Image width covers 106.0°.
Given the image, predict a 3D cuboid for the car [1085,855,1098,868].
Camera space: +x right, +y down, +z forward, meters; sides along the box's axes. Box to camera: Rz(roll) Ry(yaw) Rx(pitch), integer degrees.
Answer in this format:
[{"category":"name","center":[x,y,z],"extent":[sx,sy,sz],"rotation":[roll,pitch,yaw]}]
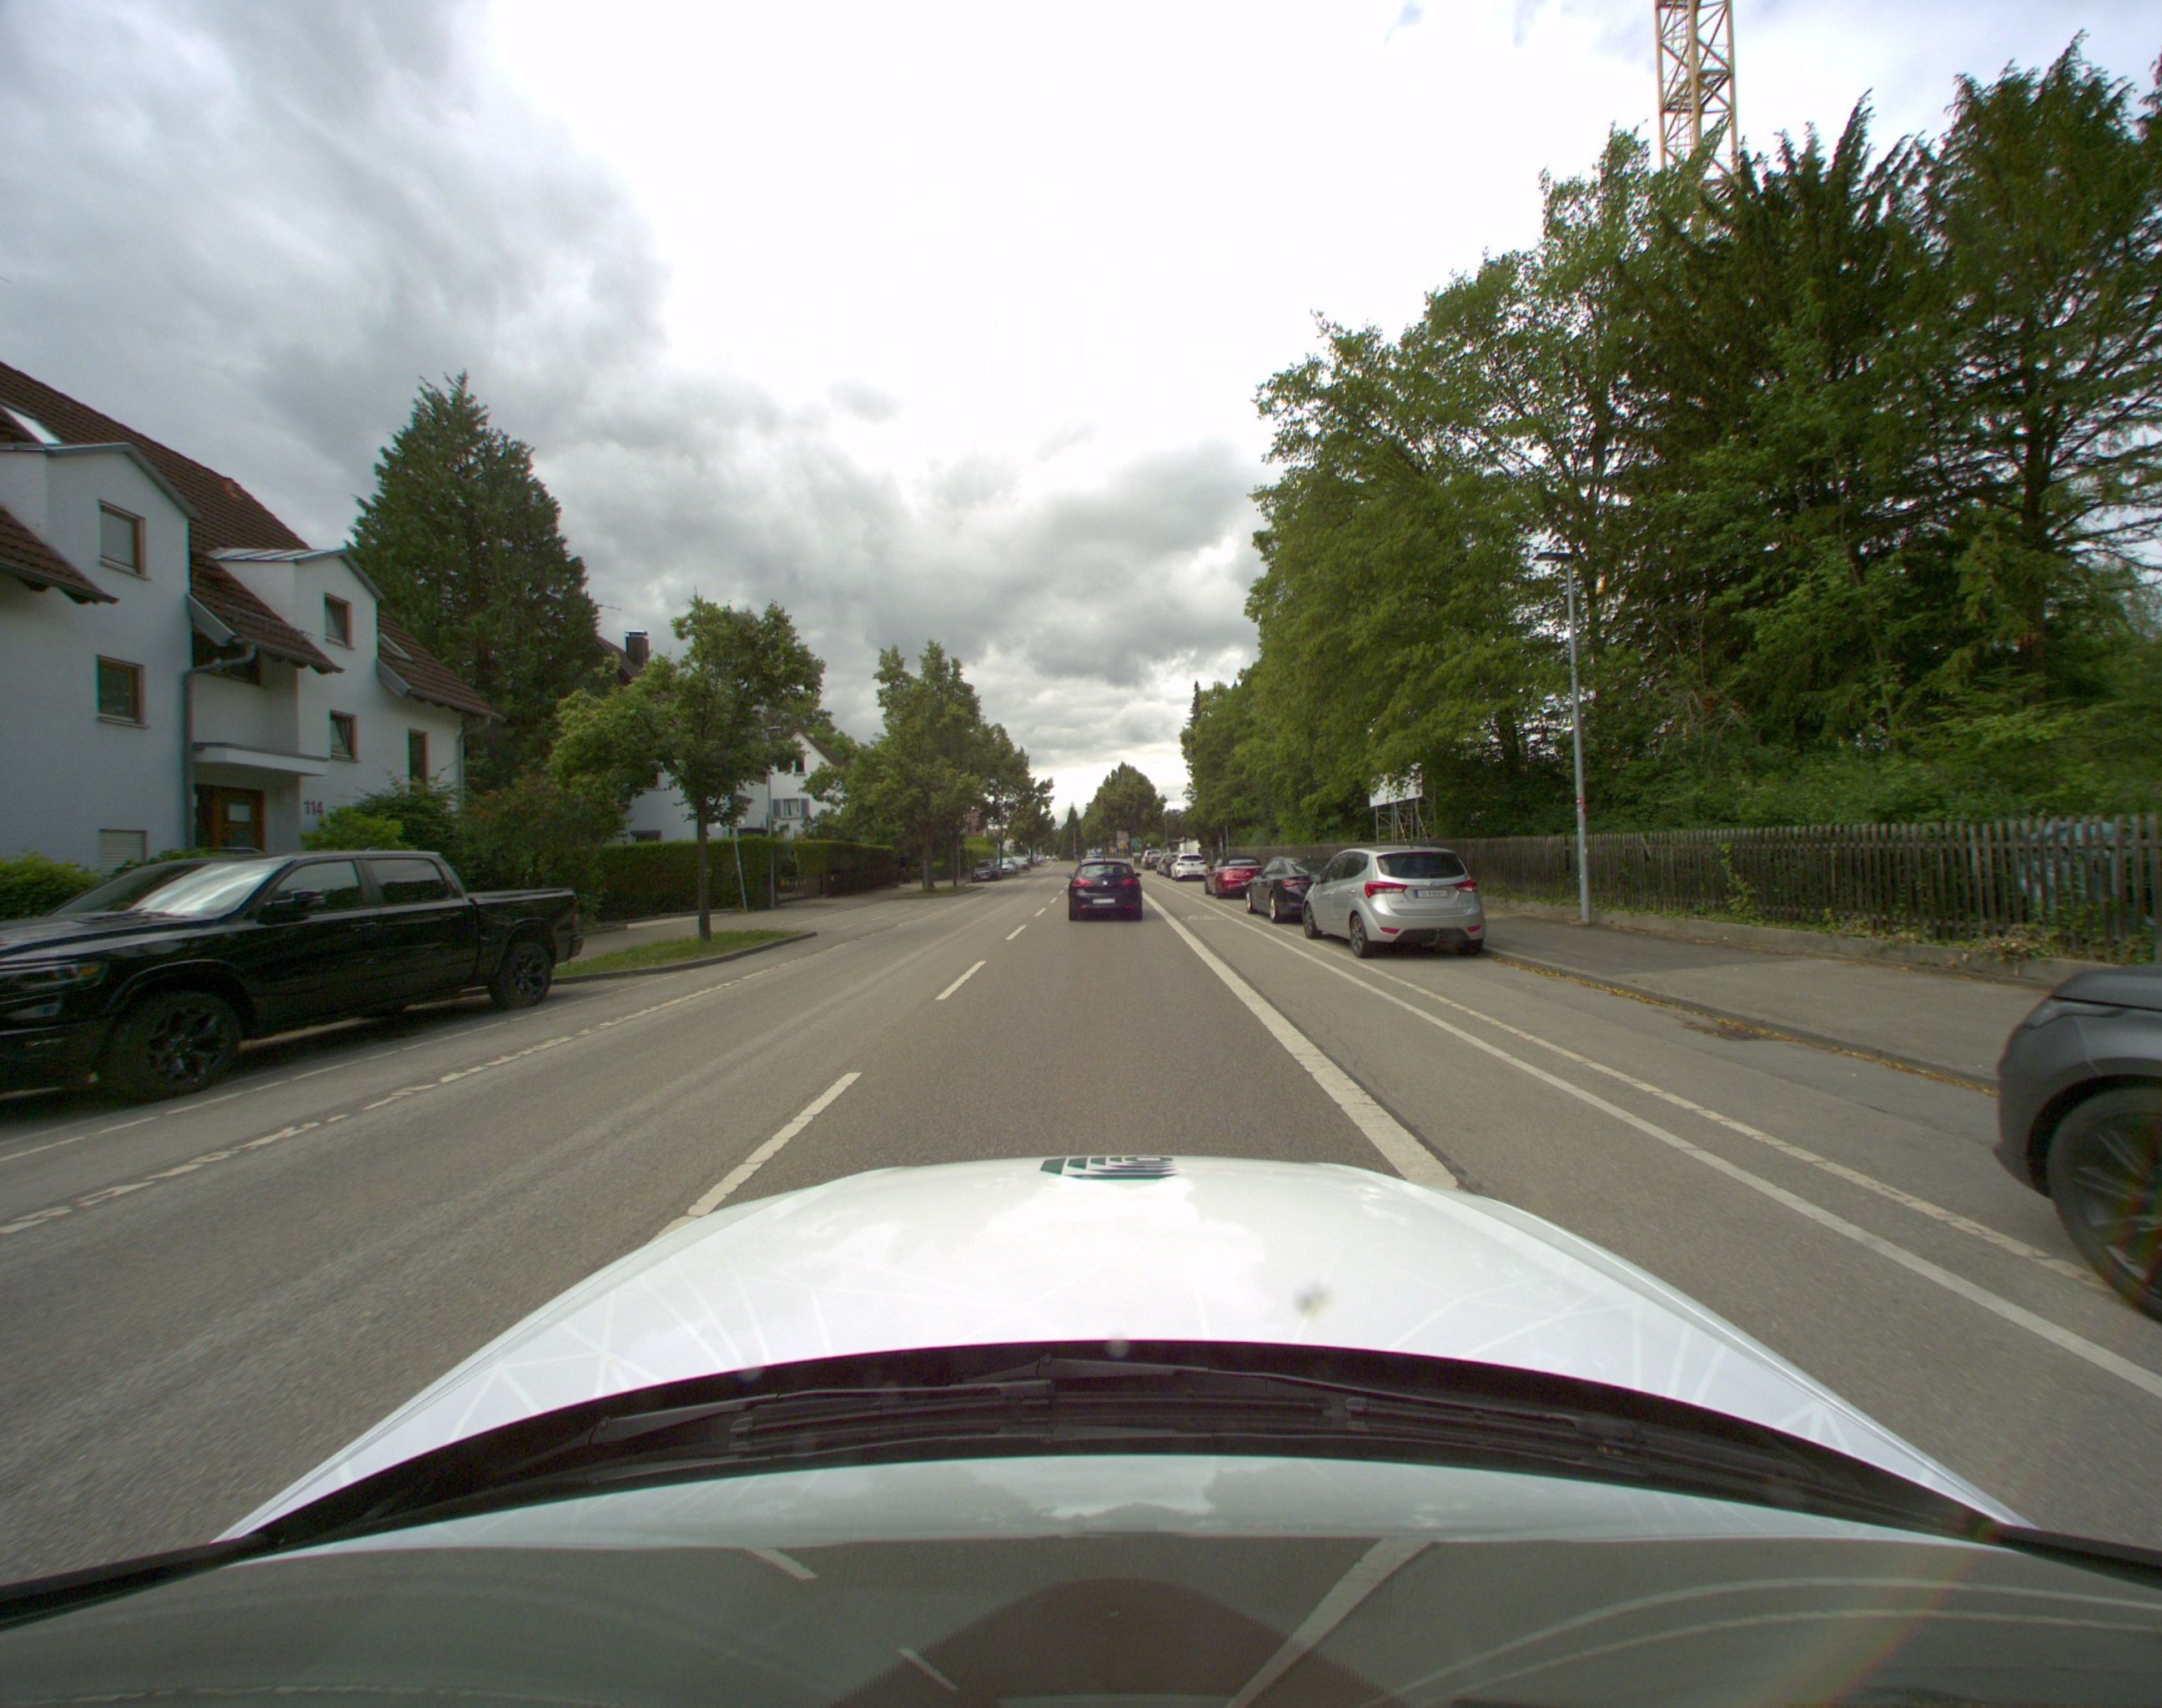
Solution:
[{"category":"car","center":[1.629,1.129,131.020],"extent":[1.987,2.013,4.000],"rotation":[-2,0,0]}]

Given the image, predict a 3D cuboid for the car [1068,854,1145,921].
[{"category":"car","center":[0.647,0.750,20.282],"extent":[1.725,1.486,4.002],"rotation":[0,0,2]}]

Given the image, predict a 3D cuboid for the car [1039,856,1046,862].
[{"category":"car","center":[-10.025,1.257,212.885],"extent":[1.793,1.601,3.997],"rotation":[-3,0,-2]}]

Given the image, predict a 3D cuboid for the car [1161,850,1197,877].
[{"category":"car","center":[5.889,0.540,49.403],"extent":[1.696,1.510,4.539],"rotation":[-1,0,2]}]

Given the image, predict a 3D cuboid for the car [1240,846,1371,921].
[{"category":"car","center":[5.030,0.618,18.938],"extent":[1.809,1.515,4.681],"rotation":[-1,0,1]}]

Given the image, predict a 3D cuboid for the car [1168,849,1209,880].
[{"category":"car","center":[5.739,0.567,43.720],"extent":[1.761,1.510,4.033],"rotation":[-2,-1,2]}]

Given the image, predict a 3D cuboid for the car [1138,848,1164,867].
[{"category":"car","center":[6.407,0.331,74.653],"extent":[1.895,1.642,4.115],"rotation":[-3,0,-1]}]

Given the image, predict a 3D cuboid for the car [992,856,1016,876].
[{"category":"car","center":[-6.744,1.013,72.019],"extent":[1.713,1.613,3.908],"rotation":[-3,0,-1]}]

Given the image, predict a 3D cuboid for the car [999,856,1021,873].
[{"category":"car","center":[-6.969,1.023,80.475],"extent":[1.989,1.485,4.885],"rotation":[-3,0,-3]}]

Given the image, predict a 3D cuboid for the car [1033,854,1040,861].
[{"category":"car","center":[-12.625,0.998,230.792],"extent":[2.025,1.970,3.995],"rotation":[-3,0,-3]}]

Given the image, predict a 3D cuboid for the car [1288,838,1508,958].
[{"category":"car","center":[4.898,0.597,13.352],"extent":[1.856,1.589,4.421],"rotation":[-2,0,0]}]

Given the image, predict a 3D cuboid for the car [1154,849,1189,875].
[{"category":"car","center":[6.055,0.527,54.887],"extent":[1.855,1.611,4.686],"rotation":[-1,0,1]}]

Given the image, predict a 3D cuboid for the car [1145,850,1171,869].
[{"category":"car","center":[6.388,0.446,68.140],"extent":[1.856,1.417,4.605],"rotation":[-2,0,2]}]

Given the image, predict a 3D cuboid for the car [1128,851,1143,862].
[{"category":"car","center":[7.424,0.360,111.430],"extent":[1.607,1.377,4.386],"rotation":[-3,-1,0]}]

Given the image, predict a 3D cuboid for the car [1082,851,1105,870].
[{"category":"car","center":[1.175,0.578,74.774],"extent":[1.987,1.613,4.000],"rotation":[-2,0,0]}]

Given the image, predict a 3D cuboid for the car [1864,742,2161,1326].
[{"category":"car","center":[4.283,0.531,1.053],"extent":[1.986,1.816,4.829],"rotation":[-1,0,2]}]

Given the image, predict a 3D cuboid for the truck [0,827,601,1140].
[{"category":"truck","center":[-7.990,0.885,8.336],"extent":[2.414,2.043,5.996],"rotation":[-2,0,1]}]

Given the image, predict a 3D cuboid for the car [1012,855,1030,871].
[{"category":"car","center":[-6.597,0.970,89.856],"extent":[1.673,1.552,4.269],"rotation":[-3,0,-2]}]

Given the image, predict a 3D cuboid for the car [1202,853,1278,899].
[{"category":"car","center":[5.381,0.690,28.090],"extent":[1.852,1.413,4.445],"rotation":[0,1,1]}]

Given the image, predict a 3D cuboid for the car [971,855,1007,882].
[{"category":"car","center":[-6.475,0.996,57.709],"extent":[2.090,1.647,5.034],"rotation":[-3,0,-2]}]
